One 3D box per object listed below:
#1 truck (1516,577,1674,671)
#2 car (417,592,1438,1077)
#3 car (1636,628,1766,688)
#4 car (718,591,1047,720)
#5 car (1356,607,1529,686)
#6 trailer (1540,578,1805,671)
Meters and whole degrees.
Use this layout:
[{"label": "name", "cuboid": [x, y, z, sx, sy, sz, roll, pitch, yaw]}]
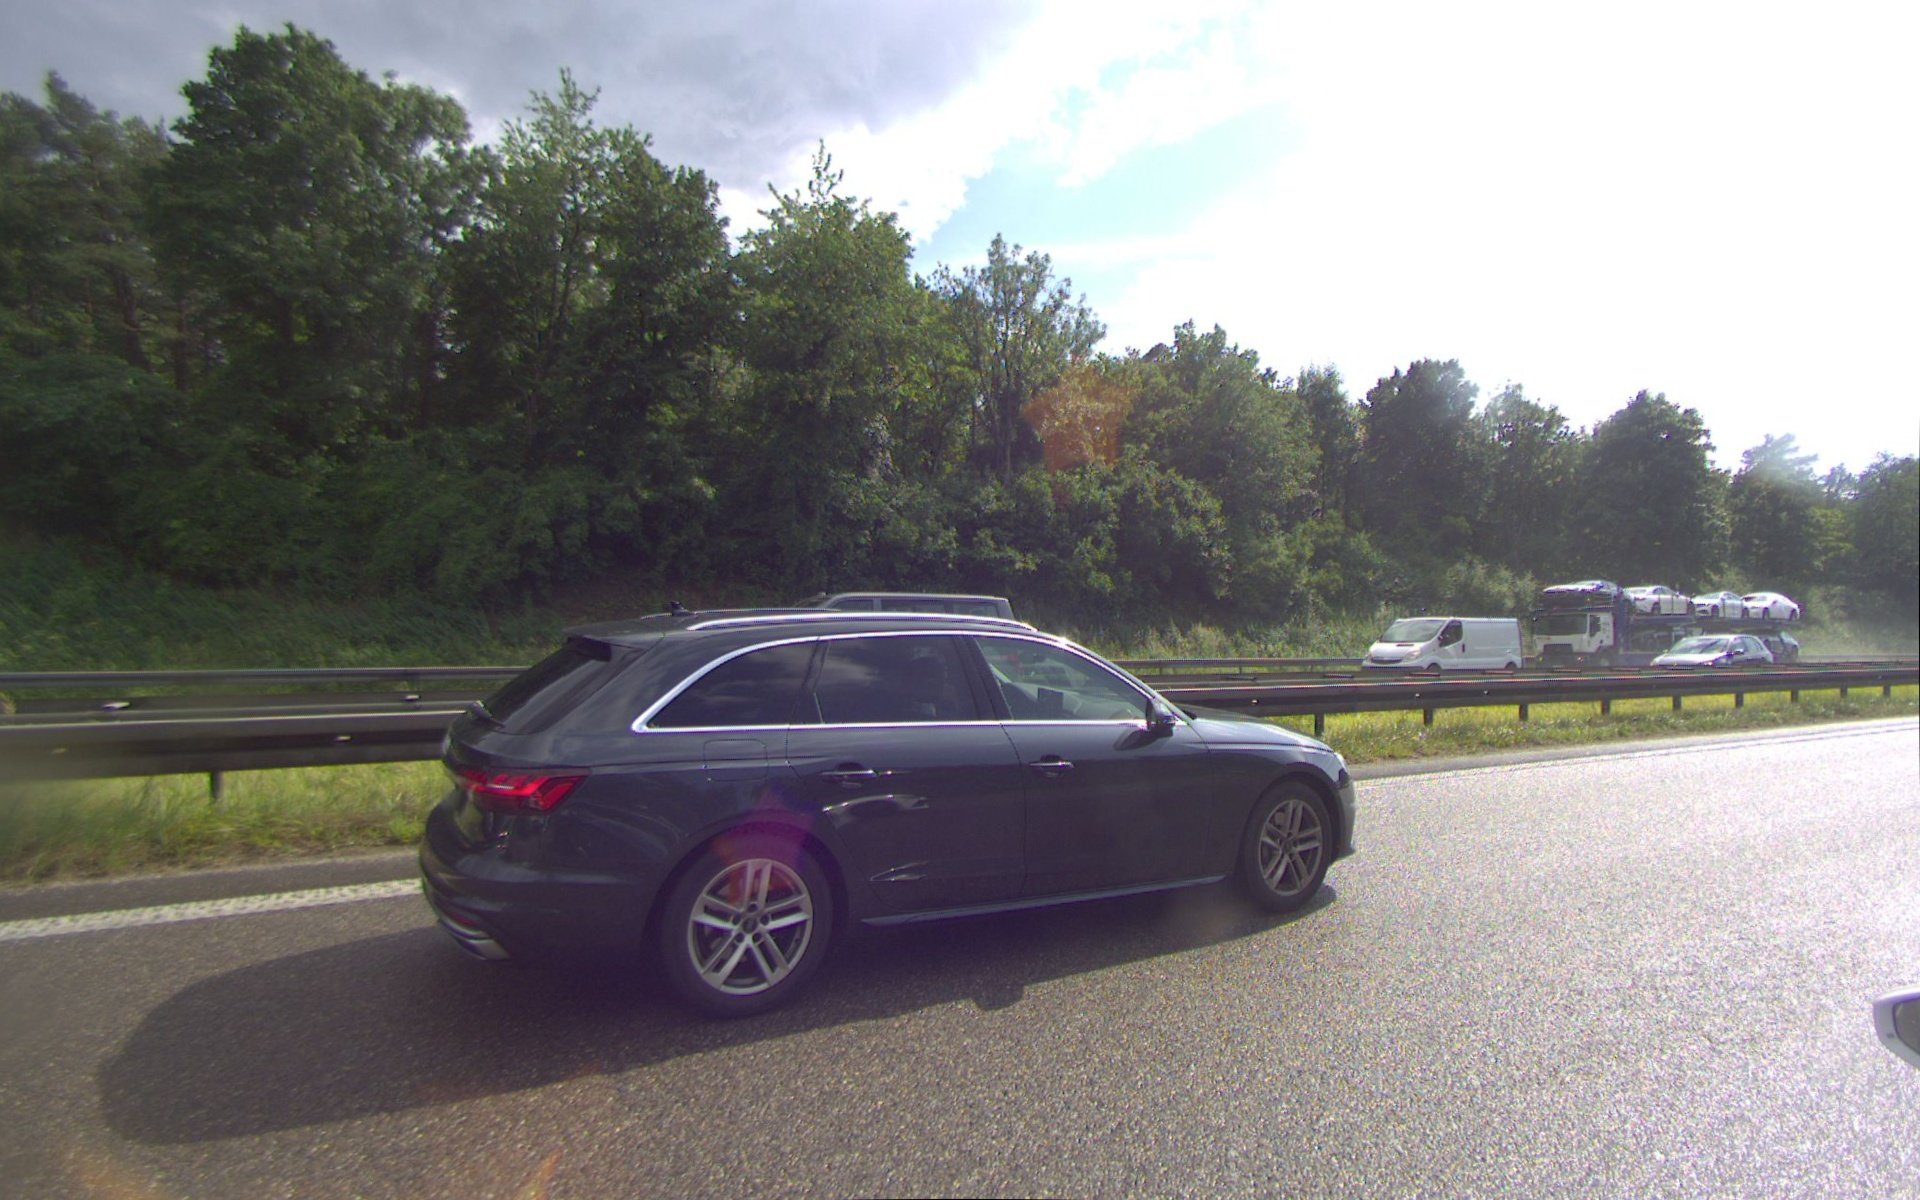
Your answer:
[{"label": "truck", "cuboid": [28.075, 1.055, 44.347, 6.781, 3.883, 2.977, 2, 0, -29]}, {"label": "car", "cuboid": [0.059, 0.752, 4.977, 4.782, 1.437, 1.785, 2, 0, -30]}, {"label": "car", "cuboid": [20.292, 1.565, 27.493, 3.610, 1.483, 1.594, 2, 0, -31]}, {"label": "car", "cuboid": [-1.096, 0.778, 15.119, 4.609, 1.685, 1.836, 2, 0, -31]}, {"label": "car", "cuboid": [13.313, 1.253, 27.641, 4.984, 1.972, 1.859, 2, 0, -31]}, {"label": "trailer", "cuboid": [34.338, 1.246, 47.849, 17.735, 3.882, 2.977, 2, 0, -29]}]
